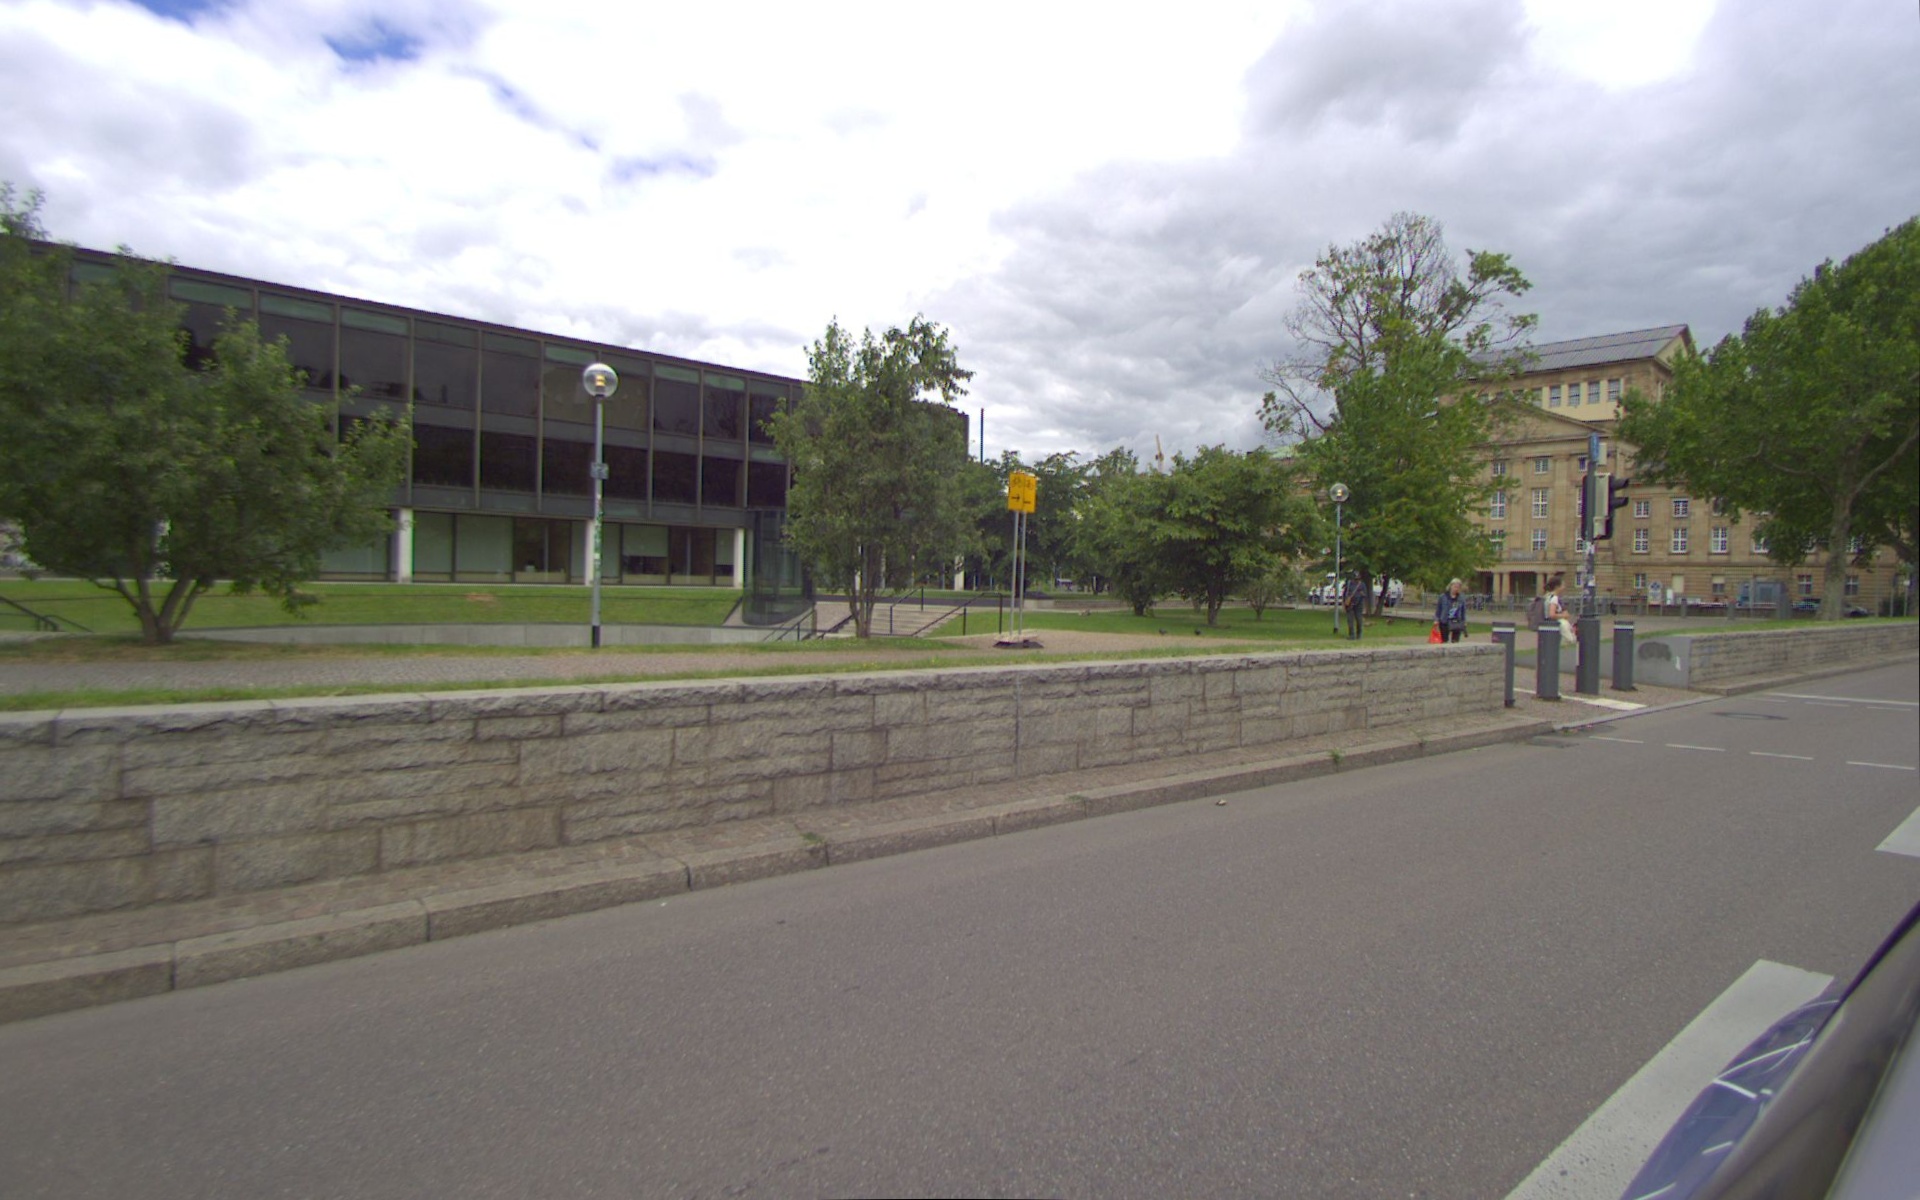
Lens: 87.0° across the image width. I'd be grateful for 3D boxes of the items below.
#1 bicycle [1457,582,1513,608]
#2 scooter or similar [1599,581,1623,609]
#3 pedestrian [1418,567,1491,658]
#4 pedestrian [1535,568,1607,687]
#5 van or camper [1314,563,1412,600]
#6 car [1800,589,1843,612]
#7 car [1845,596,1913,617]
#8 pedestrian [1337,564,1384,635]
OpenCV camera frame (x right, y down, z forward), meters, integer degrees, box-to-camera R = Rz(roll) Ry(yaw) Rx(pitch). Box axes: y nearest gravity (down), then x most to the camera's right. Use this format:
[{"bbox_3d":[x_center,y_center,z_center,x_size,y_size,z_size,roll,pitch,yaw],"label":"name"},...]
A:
[{"bbox_3d":[24.525,-0.243,47.283,0.674,1.155,2.196,1,1,-41],"label":"bicycle"},{"bbox_3d":[31.153,-0.251,48.436,0.716,1.261,0.717,-1,6,-43],"label":"scooter or similar"},{"bbox_3d":[9.008,0.221,18.451,0.889,1.580,0.687,1,4,-24],"label":"pedestrian"},{"bbox_3d":[8.842,0.385,14.643,0.672,1.677,0.698,-1,-1,-42],"label":"pedestrian"},{"bbox_3d":[26.754,-1.193,67.357,2.281,2.348,5.705,-2,2,-41],"label":"van or camper"},{"bbox_3d":[62.969,0.056,73.937,4.142,1.537,1.767,2,0,-41],"label":"car"},{"bbox_3d":[73.424,0.547,80.883,3.986,1.616,1.707,-2,0,44],"label":"car"},{"bbox_3d":[9.507,-0.019,24.043,0.614,1.646,0.805,1,1,-34],"label":"pedestrian"}]
